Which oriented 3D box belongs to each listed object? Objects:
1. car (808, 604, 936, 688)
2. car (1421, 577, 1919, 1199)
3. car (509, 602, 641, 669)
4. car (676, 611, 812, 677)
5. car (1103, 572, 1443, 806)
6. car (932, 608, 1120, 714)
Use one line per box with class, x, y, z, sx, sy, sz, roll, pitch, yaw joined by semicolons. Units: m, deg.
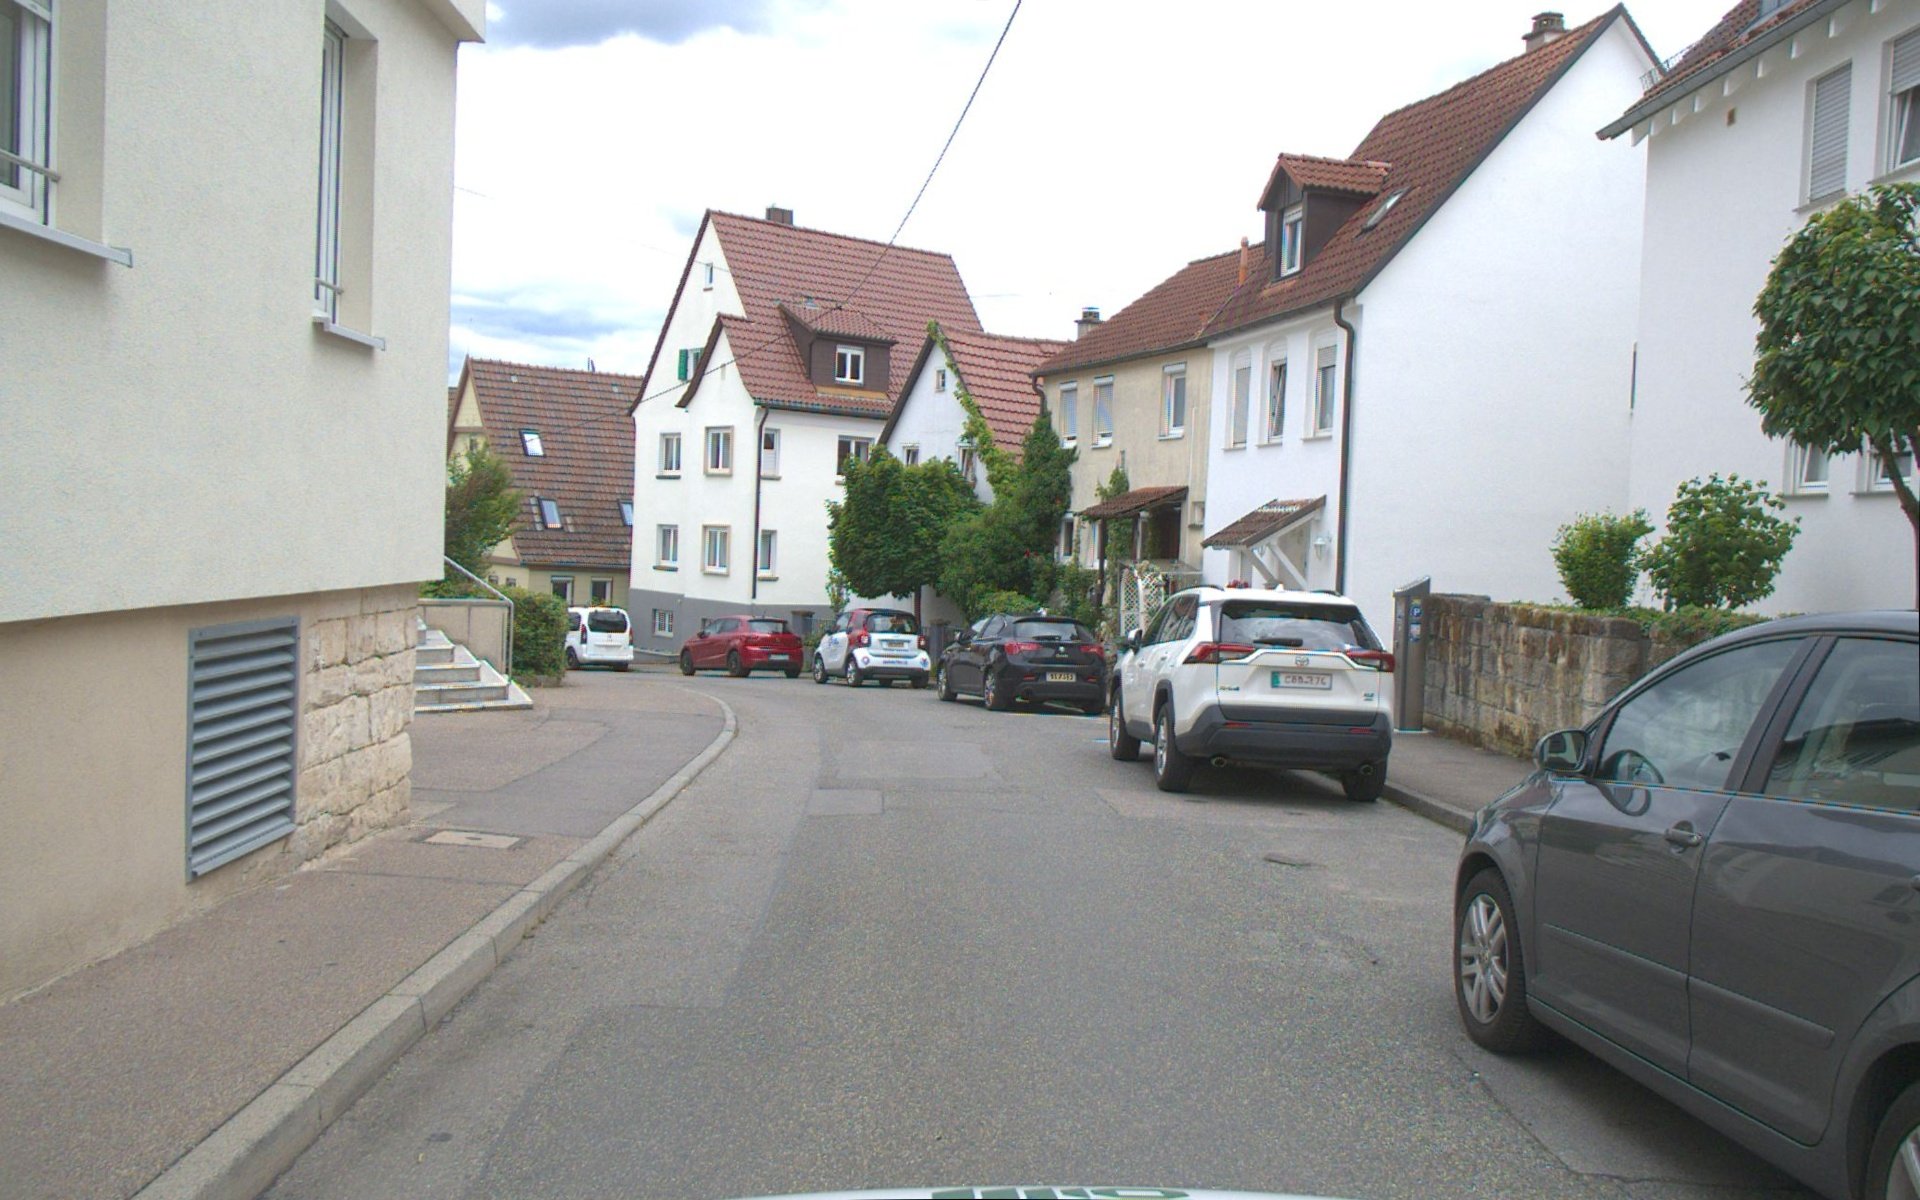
car;-1.841;0.935;33.819;1.591;1.559;2.873;4;-3;-25
car;2.803;0.798;4.543;1.701;1.591;3.906;4;0;-3
car;-11.153;1.040;47.765;1.826;1.846;4.235;3;-3;-43
car;-5.228;1.068;39.759;1.665;1.477;3.804;2;-3;-35
car;2.581;0.657;14.811;1.907;1.668;4.458;3;0;-3
car;0.920;0.894;25.572;1.690;1.431;3.985;3;-1;-16
